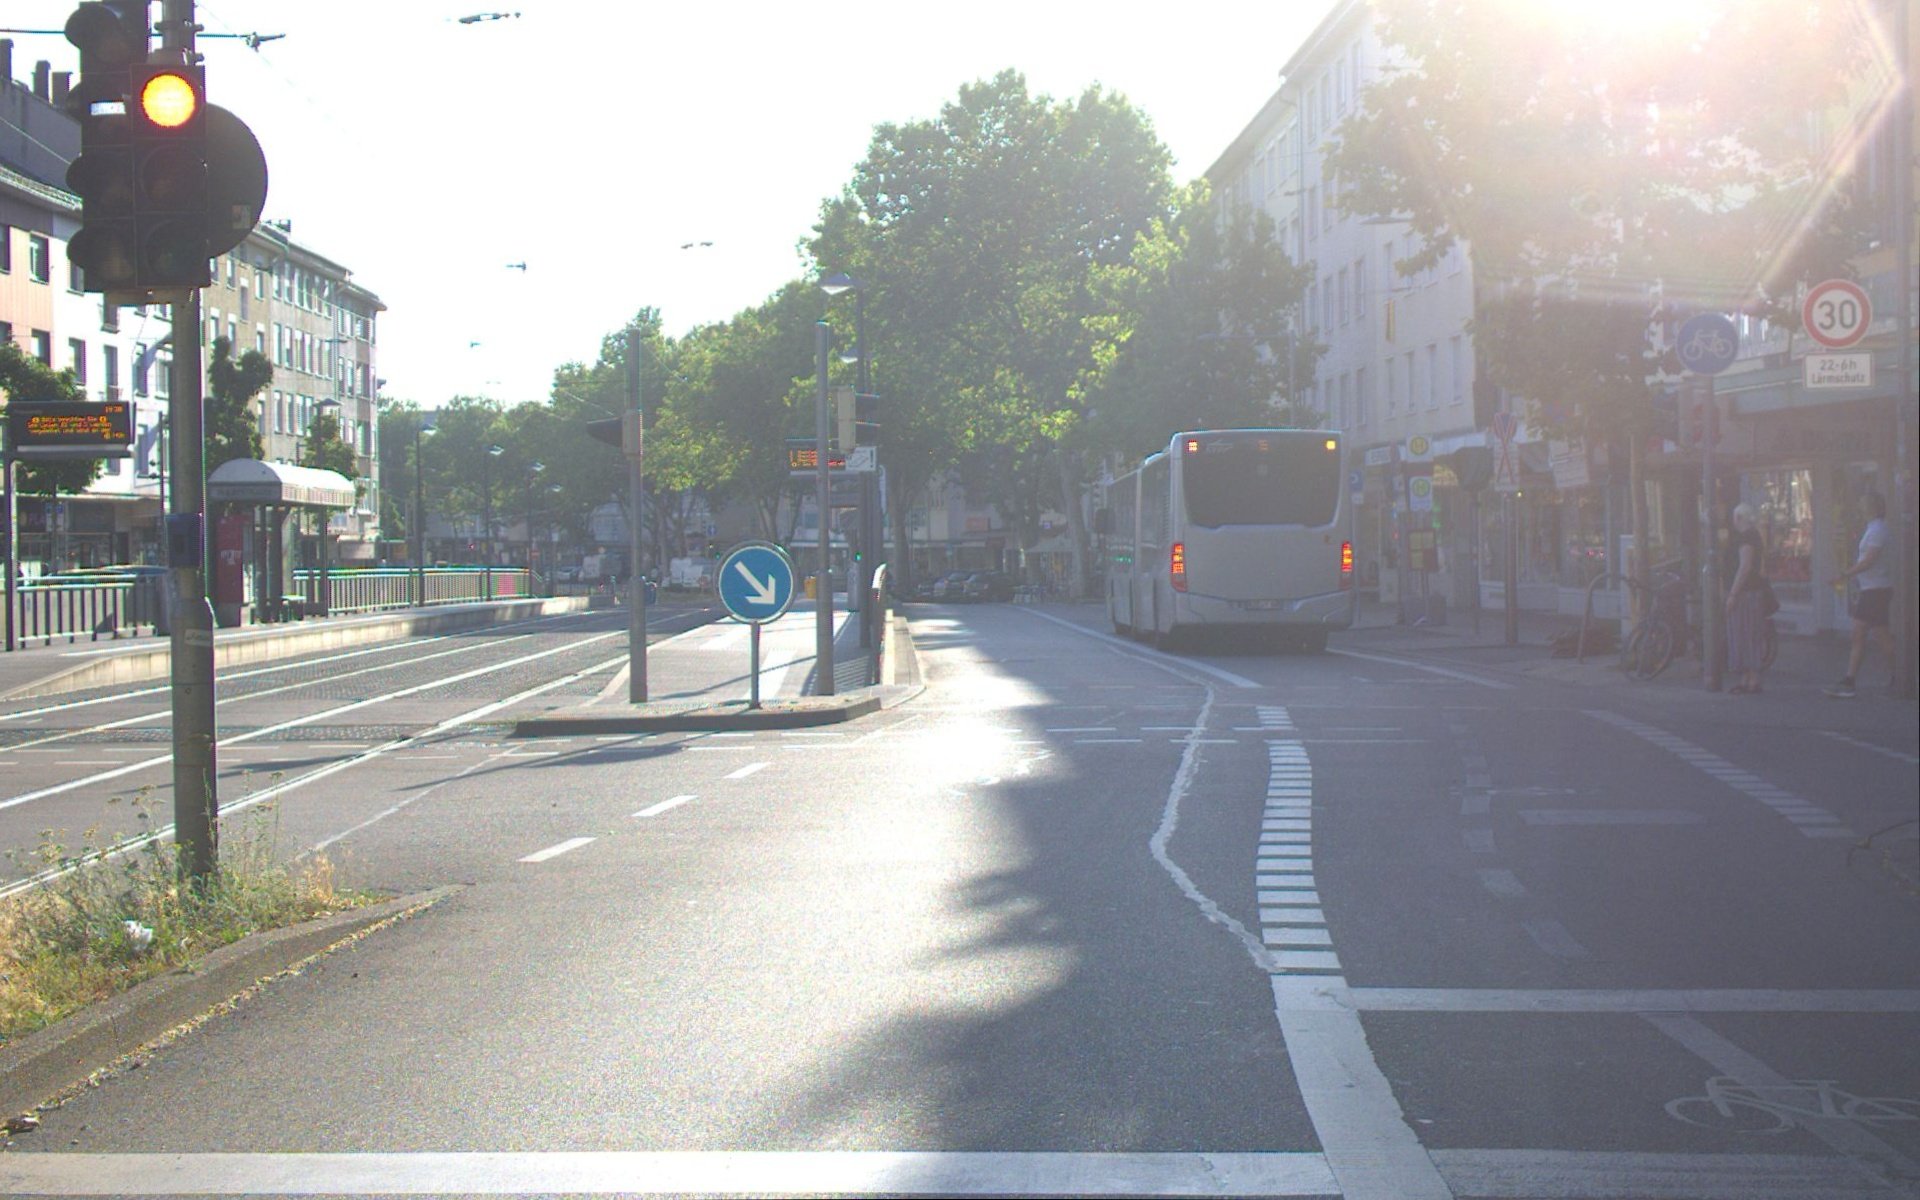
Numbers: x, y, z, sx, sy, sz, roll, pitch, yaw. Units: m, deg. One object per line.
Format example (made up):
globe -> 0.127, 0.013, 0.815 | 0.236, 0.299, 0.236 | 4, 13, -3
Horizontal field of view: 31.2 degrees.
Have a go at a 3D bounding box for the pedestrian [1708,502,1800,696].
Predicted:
pedestrian -> 7.336, -0.016, 31.781 | 0.680, 1.764, 0.687 | -1, 1, 0

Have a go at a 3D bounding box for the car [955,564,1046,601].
car -> 1.932, -0.836, 162.761 | 3.889, 1.693, 1.833 | -1, 1, -29

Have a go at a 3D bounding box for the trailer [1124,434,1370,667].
trailer -> 4.129, -0.732, 51.326 | 2.812, 3.100, 8.795 | 2, 1, 0

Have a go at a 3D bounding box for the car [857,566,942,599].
car -> -2.995, -0.862, 170.615 | 3.889, 1.591, 1.691 | -1, 1, -29

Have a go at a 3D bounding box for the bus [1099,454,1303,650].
bus -> 4.091, -0.834, 60.279 | 2.812, 3.091, 9.094 | 2, 1, 0

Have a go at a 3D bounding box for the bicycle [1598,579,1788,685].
bicycle -> 7.531, 0.321, 35.360 | 1.772, 1.018, 0.694 | -2, 1, -1

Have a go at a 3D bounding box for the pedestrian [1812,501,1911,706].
pedestrian -> 7.886, 0.026, 30.106 | 0.680, 1.764, 0.687 | -1, 1, 0
